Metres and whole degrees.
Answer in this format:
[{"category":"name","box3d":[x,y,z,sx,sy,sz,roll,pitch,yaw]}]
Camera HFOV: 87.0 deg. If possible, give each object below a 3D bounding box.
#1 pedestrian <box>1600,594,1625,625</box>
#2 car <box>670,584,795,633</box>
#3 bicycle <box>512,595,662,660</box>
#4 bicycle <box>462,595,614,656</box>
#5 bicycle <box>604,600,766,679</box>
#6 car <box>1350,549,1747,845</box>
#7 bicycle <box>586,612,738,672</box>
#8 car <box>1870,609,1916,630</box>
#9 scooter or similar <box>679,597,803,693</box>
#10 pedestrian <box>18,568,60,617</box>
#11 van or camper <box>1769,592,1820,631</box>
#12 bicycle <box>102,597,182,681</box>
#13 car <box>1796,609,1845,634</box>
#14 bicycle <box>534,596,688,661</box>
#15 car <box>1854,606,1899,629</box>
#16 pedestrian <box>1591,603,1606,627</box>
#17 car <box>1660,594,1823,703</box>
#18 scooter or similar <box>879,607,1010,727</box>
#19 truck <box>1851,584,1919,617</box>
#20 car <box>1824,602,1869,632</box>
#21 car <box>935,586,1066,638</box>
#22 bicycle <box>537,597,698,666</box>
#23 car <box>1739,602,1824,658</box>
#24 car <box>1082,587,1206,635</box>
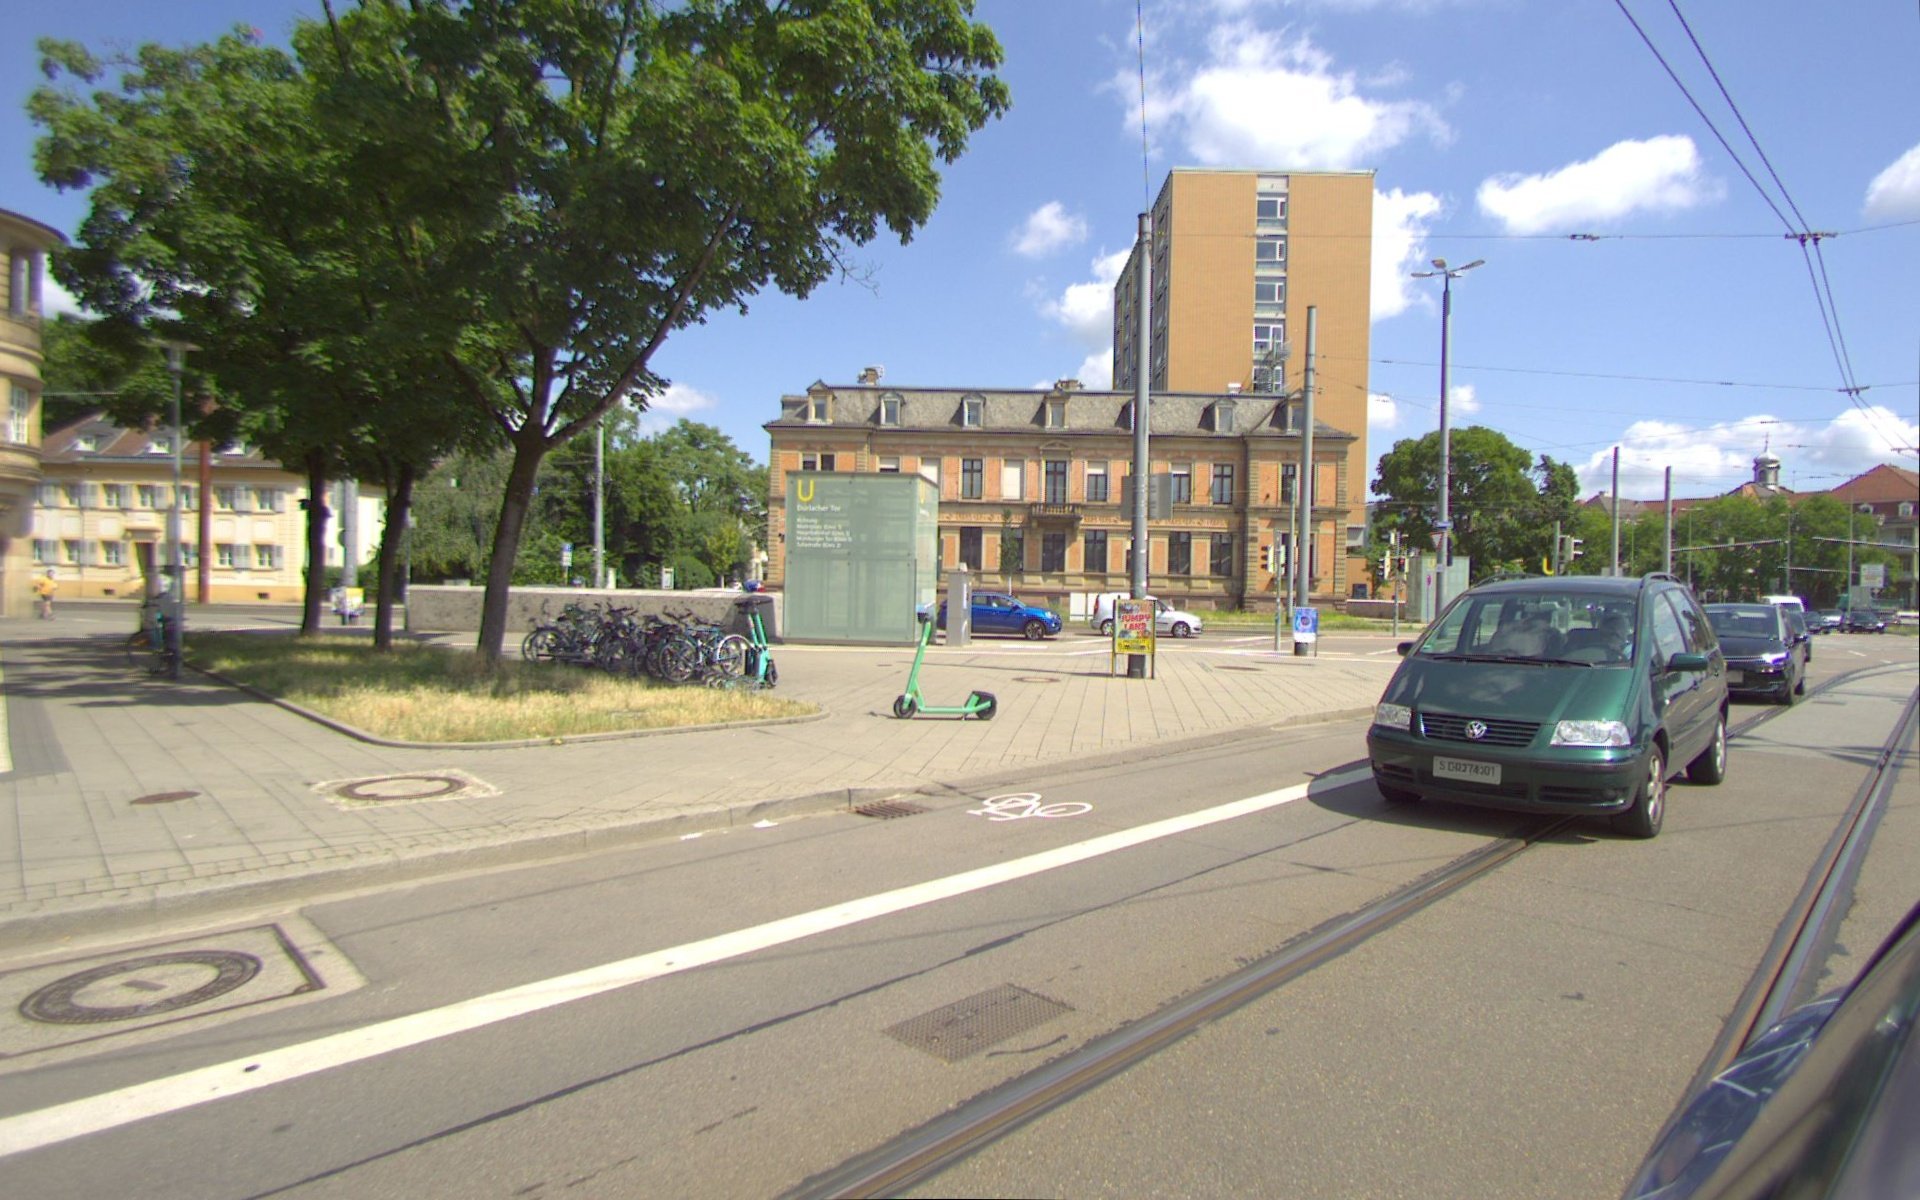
[{"category":"pedestrian","box3d":[39.923,0.555,61.941,1.009,1.835,0.727,1,1,5]},{"category":"car","box3d":[-8.070,0.287,36.054,3.931,1.585,1.934,2,1,10]},{"category":"bicycle","box3d":[-6.965,0.491,19.005,2.529,1.104,0.793,0,2,-42]},{"category":"bicycle","box3d":[-7.982,0.461,19.238,2.529,1.066,0.793,0,2,-42]},{"category":"bicycle","box3d":[-4.292,0.580,15.893,2.224,1.095,1.026,0,2,-42]},{"category":"car","box3d":[4.832,0.569,8.043,1.815,1.739,4.019,0,0,44]},{"category":"bicycle","box3d":[-4.912,0.702,16.805,2.248,0.891,0.843,3,1,-42]},{"category":"car","box3d":[80.461,1.655,87.346,1.798,1.579,4.068,3,1,27]},{"category":"scooter or similar","box3d":[-3.035,0.591,14.077,0.946,1.218,1.370,3,2,39]},{"category":"pedestrian","box3d":[-30.833,-0.242,33.874,0.899,1.556,0.853,3,-1,40]},{"category":"van or camper","box3d":[61.708,0.826,74.947,2.217,2.770,5.455,2,1,33]},{"category":"bicycle","box3d":[-11.424,0.520,14.174,0.750,1.063,1.652,1,1,-36]},{"category":"car","box3d":[56.740,1.377,66.787,1.888,1.482,4.210,2,1,33]},{"category":"bicycle","box3d":[-6.304,0.494,18.400,2.529,1.066,0.793,0,2,-42]},{"category":"car","box3d":[60.437,1.159,66.772,1.662,1.393,3.866,2,0,34]},{"category":"pedestrian","box3d":[43.978,1.046,69.708,0.825,1.606,0.758,2,0,35]},{"category":"car","box3d":[13.614,0.750,17.535,1.867,1.637,4.358,-1,-1,43]},{"category":"scooter or similar","box3d":[-0.176,0.703,11.213,1.066,1.194,0.950,1,2,-38]},{"category":"truck","box3d":[89.483,0.023,97.859,3.330,3.035,8.637,2,1,31]},{"category":"car","box3d":[64.261,1.204,73.403,1.803,2.039,3.953,2,1,32]},{"category":"car","box3d":[1.434,0.385,34.988,4.353,1.570,1.870,2,3,9]},{"category":"bicycle","box3d":[-5.906,0.517,17.570,2.529,1.083,0.793,0,2,-42]},{"category":"car","box3d":[24.874,0.843,30.718,1.865,1.504,4.365,2,1,38]},{"category":"car","box3d":[6.713,0.377,37.377,4.352,1.607,1.870,2,1,8]}]
